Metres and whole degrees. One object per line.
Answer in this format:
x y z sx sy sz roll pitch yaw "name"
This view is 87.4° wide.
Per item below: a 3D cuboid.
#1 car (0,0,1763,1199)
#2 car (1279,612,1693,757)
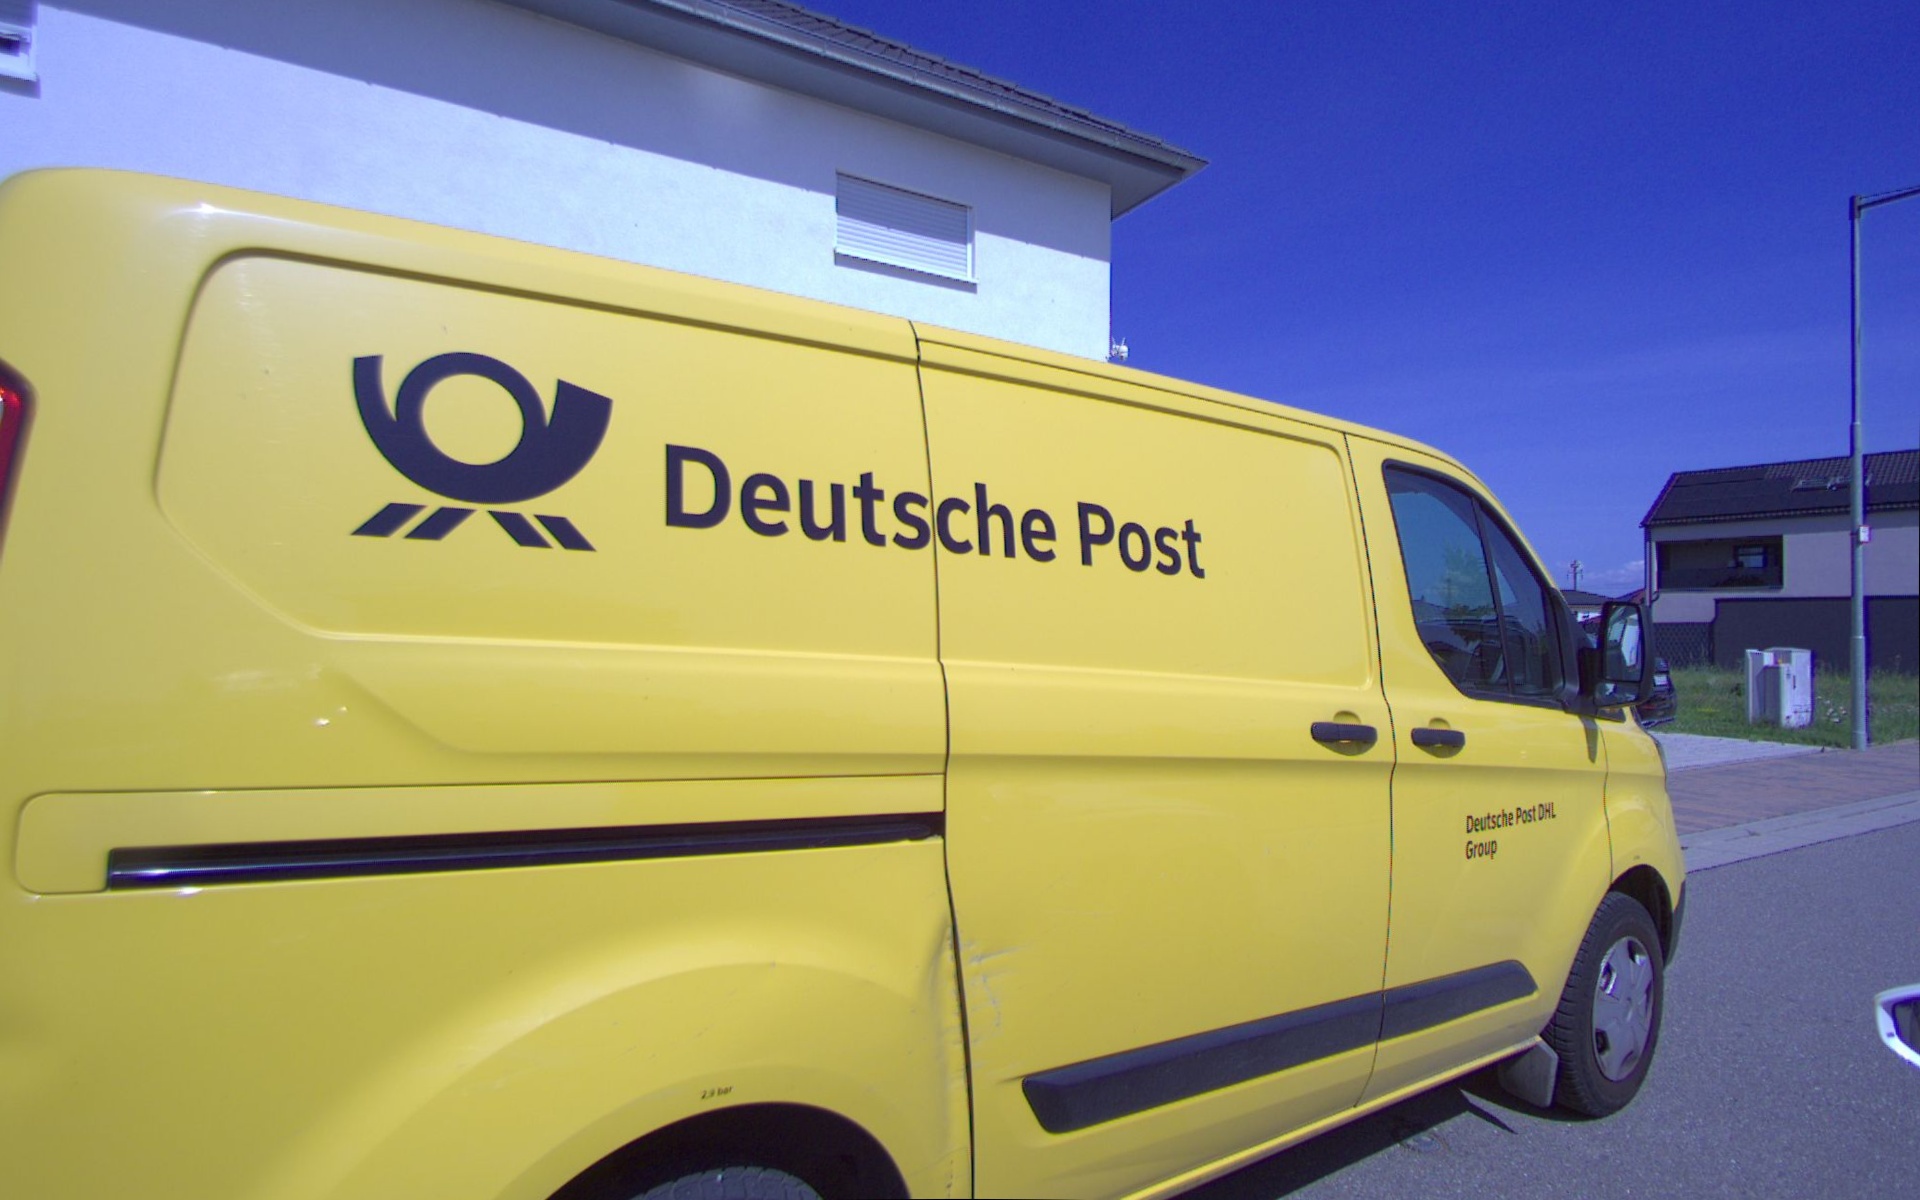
0.223 0.404 2.812 4.792 2.040 1.872 2 -1 -35 "car"
6.500 0.931 12.809 1.737 1.471 4.351 2 -1 -43 "car"
